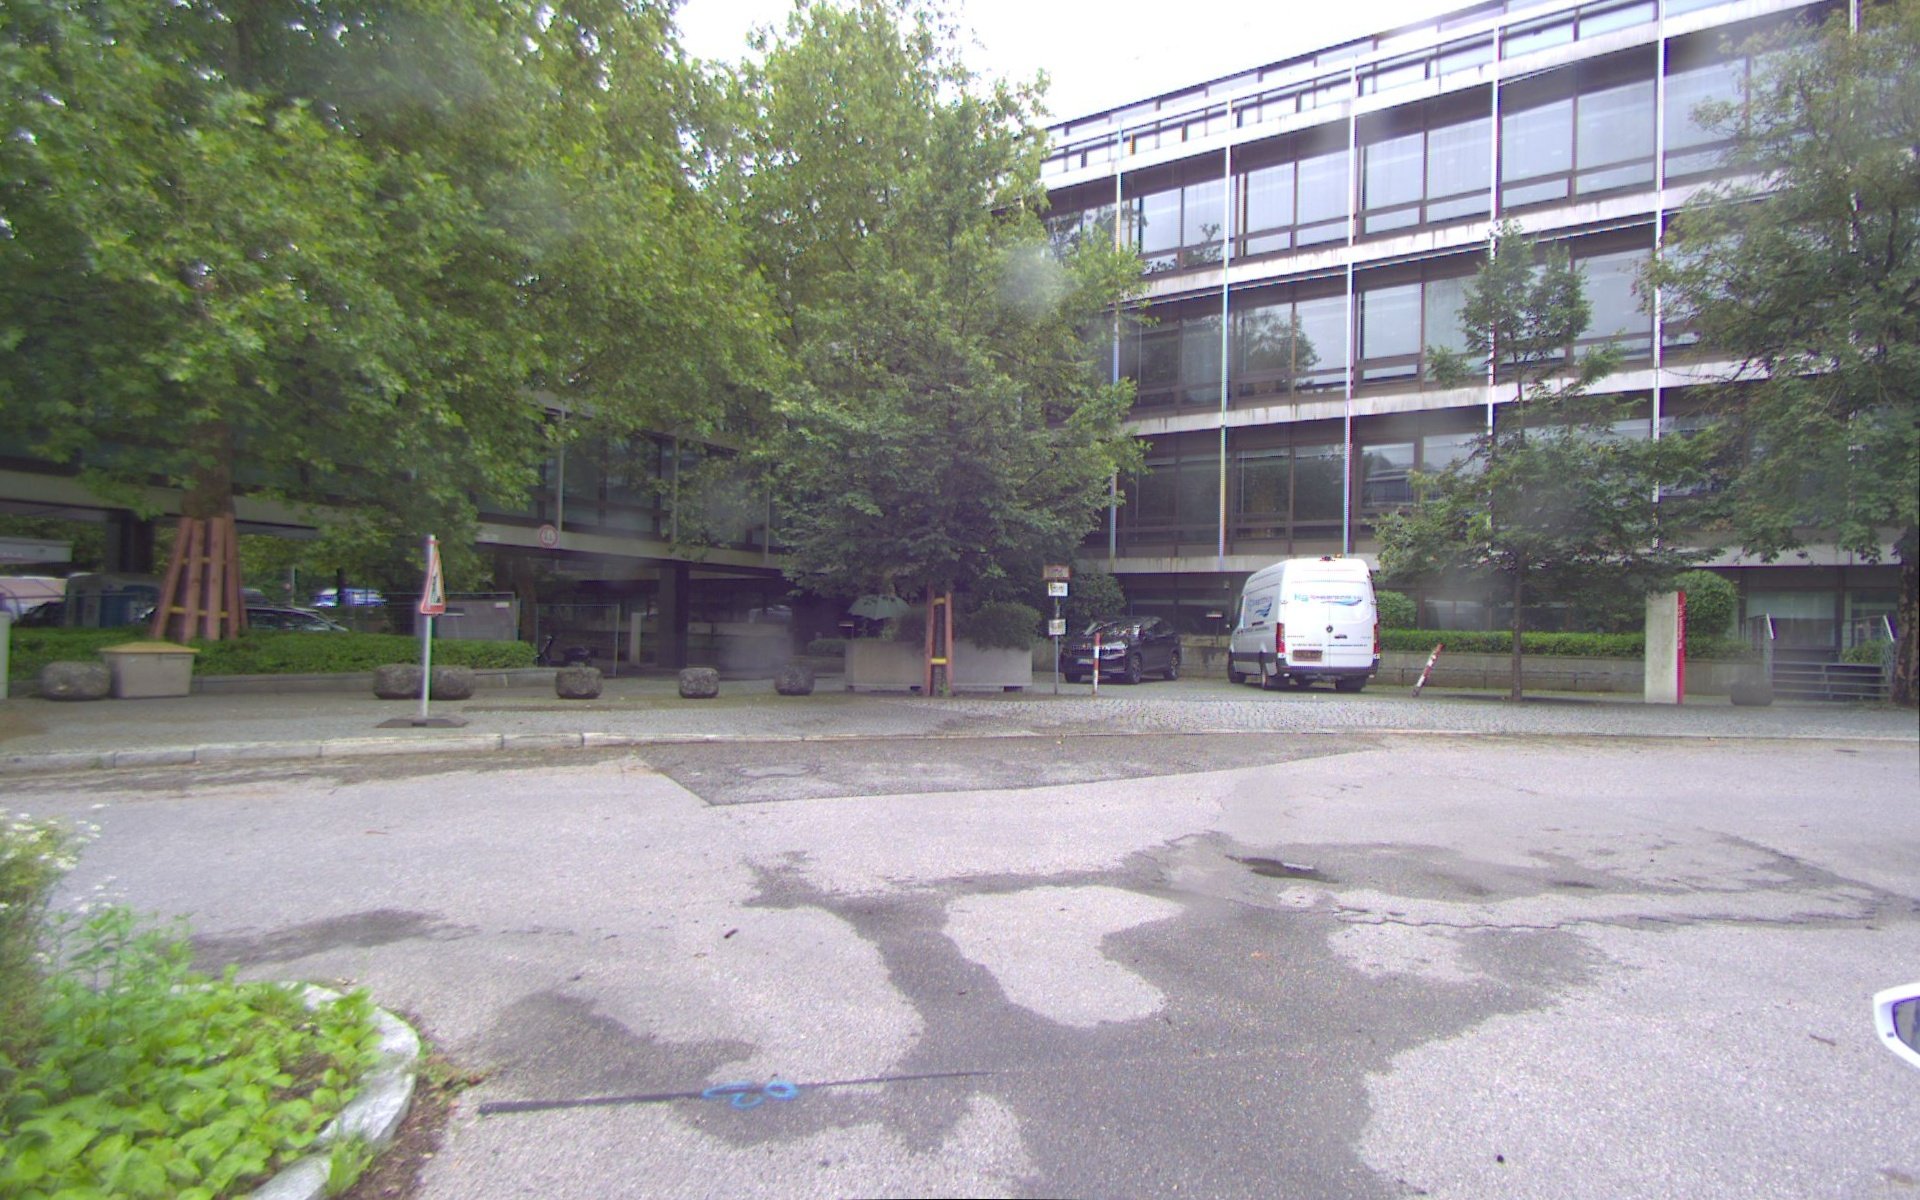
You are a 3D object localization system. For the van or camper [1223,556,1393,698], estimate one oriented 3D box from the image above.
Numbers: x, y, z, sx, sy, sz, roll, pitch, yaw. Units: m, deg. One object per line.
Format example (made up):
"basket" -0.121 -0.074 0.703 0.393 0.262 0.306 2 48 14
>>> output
"van or camper" 7.407 0.669 22.192 2.119 2.614 6.545 2 -3 6

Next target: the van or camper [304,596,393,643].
"van or camper" -35.151 1.117 57.724 4.566 2.630 2.275 0 -2 28

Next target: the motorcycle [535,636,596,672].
"motorcycle" -11.986 1.634 30.581 1.666 1.069 0.670 1 -1 -17

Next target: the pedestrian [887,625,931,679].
"pedestrian" -1.280 1.298 25.177 0.913 1.295 0.540 1 -1 34

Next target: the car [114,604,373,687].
"car" -14.377 0.885 20.361 1.880 1.493 3.850 0 -2 33

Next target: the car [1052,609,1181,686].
"car" 4.030 1.146 25.294 1.912 1.744 4.233 0 -2 28
